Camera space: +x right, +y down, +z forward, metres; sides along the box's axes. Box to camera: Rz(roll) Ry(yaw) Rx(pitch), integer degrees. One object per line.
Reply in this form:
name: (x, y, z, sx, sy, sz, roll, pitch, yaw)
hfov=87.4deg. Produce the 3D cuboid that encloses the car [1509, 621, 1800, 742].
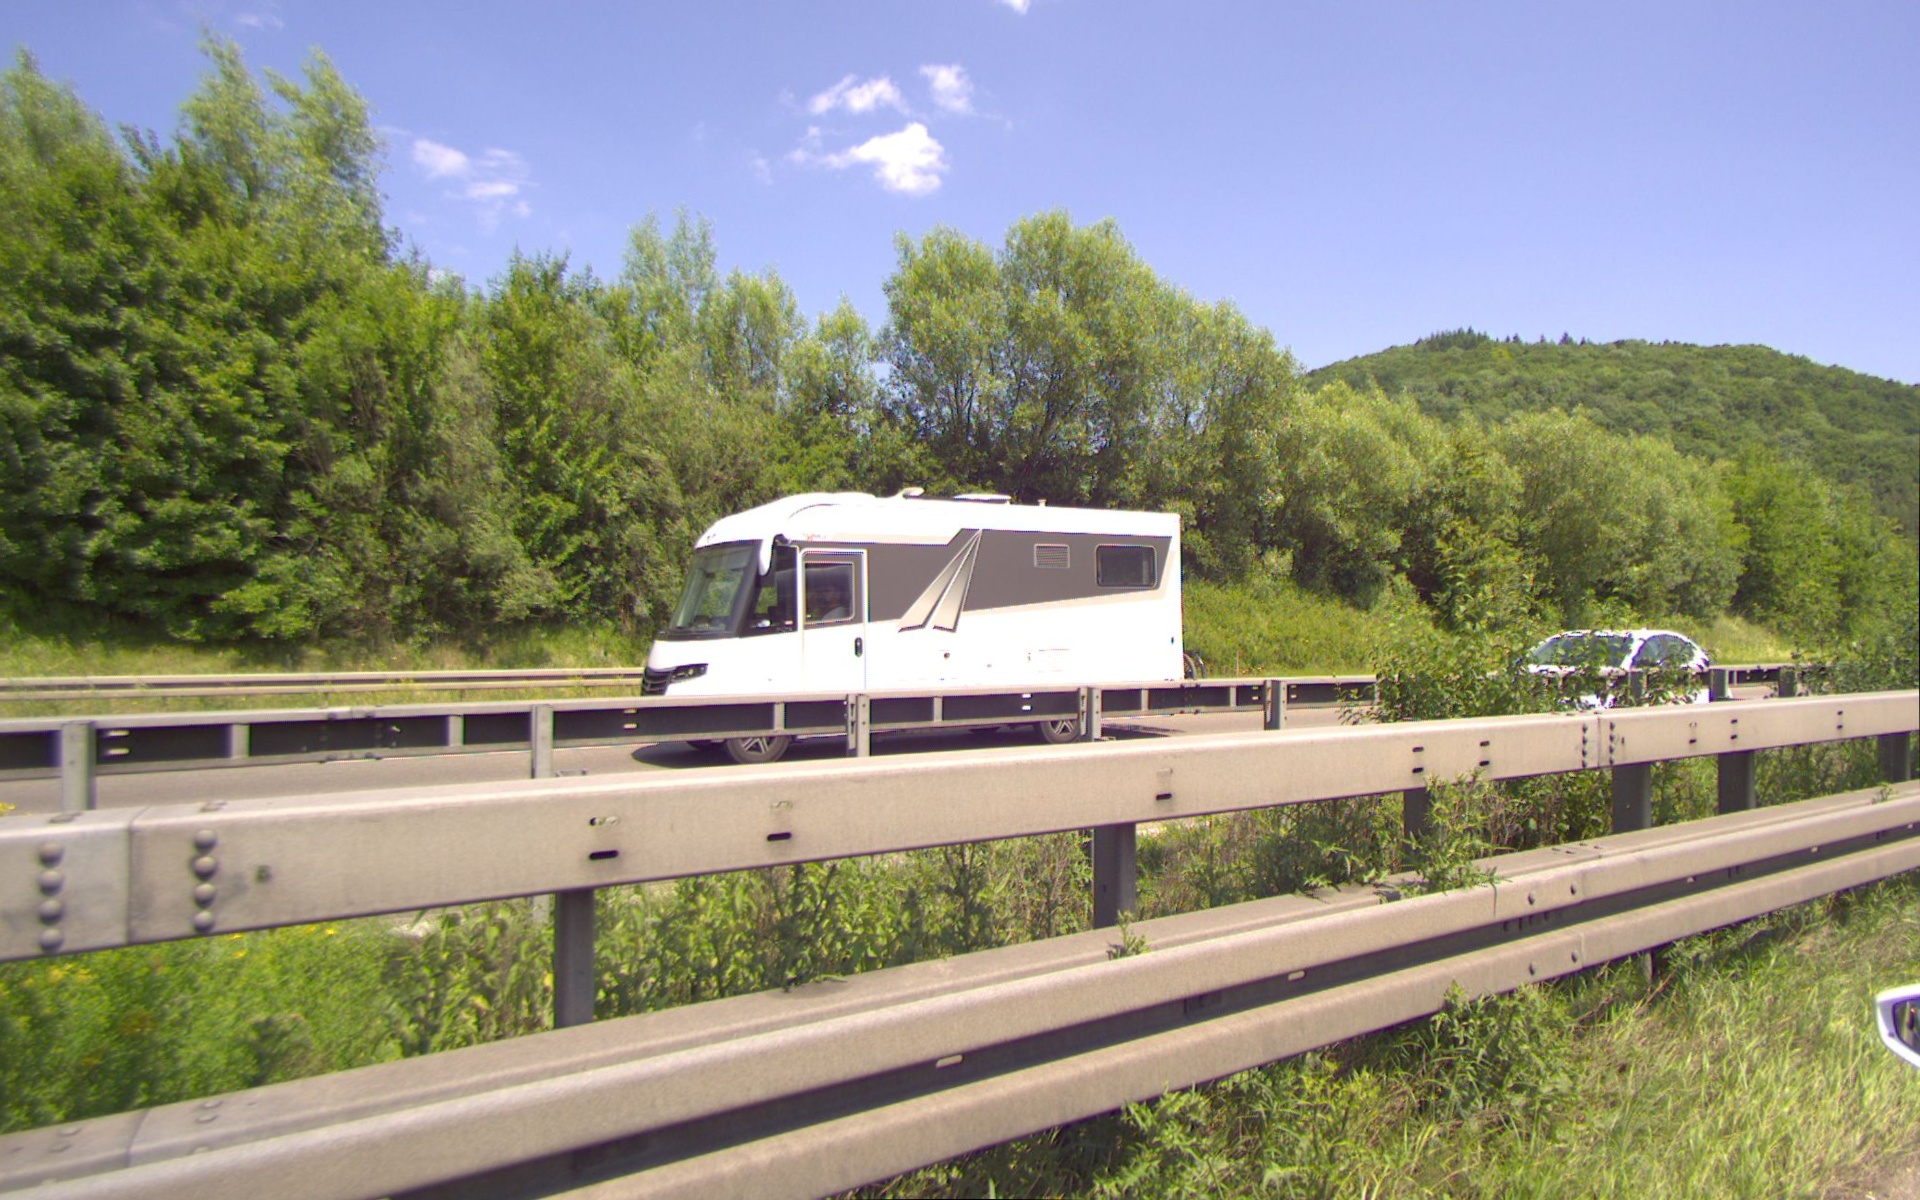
car: (10.079, 1.079, 14.489, 4.485, 1.483, 1.788, 1, -1, -31)

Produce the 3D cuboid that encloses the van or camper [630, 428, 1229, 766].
van or camper: (-0.138, 0.046, 13.132, 7.561, 3.380, 2.577, 1, -1, -31)
